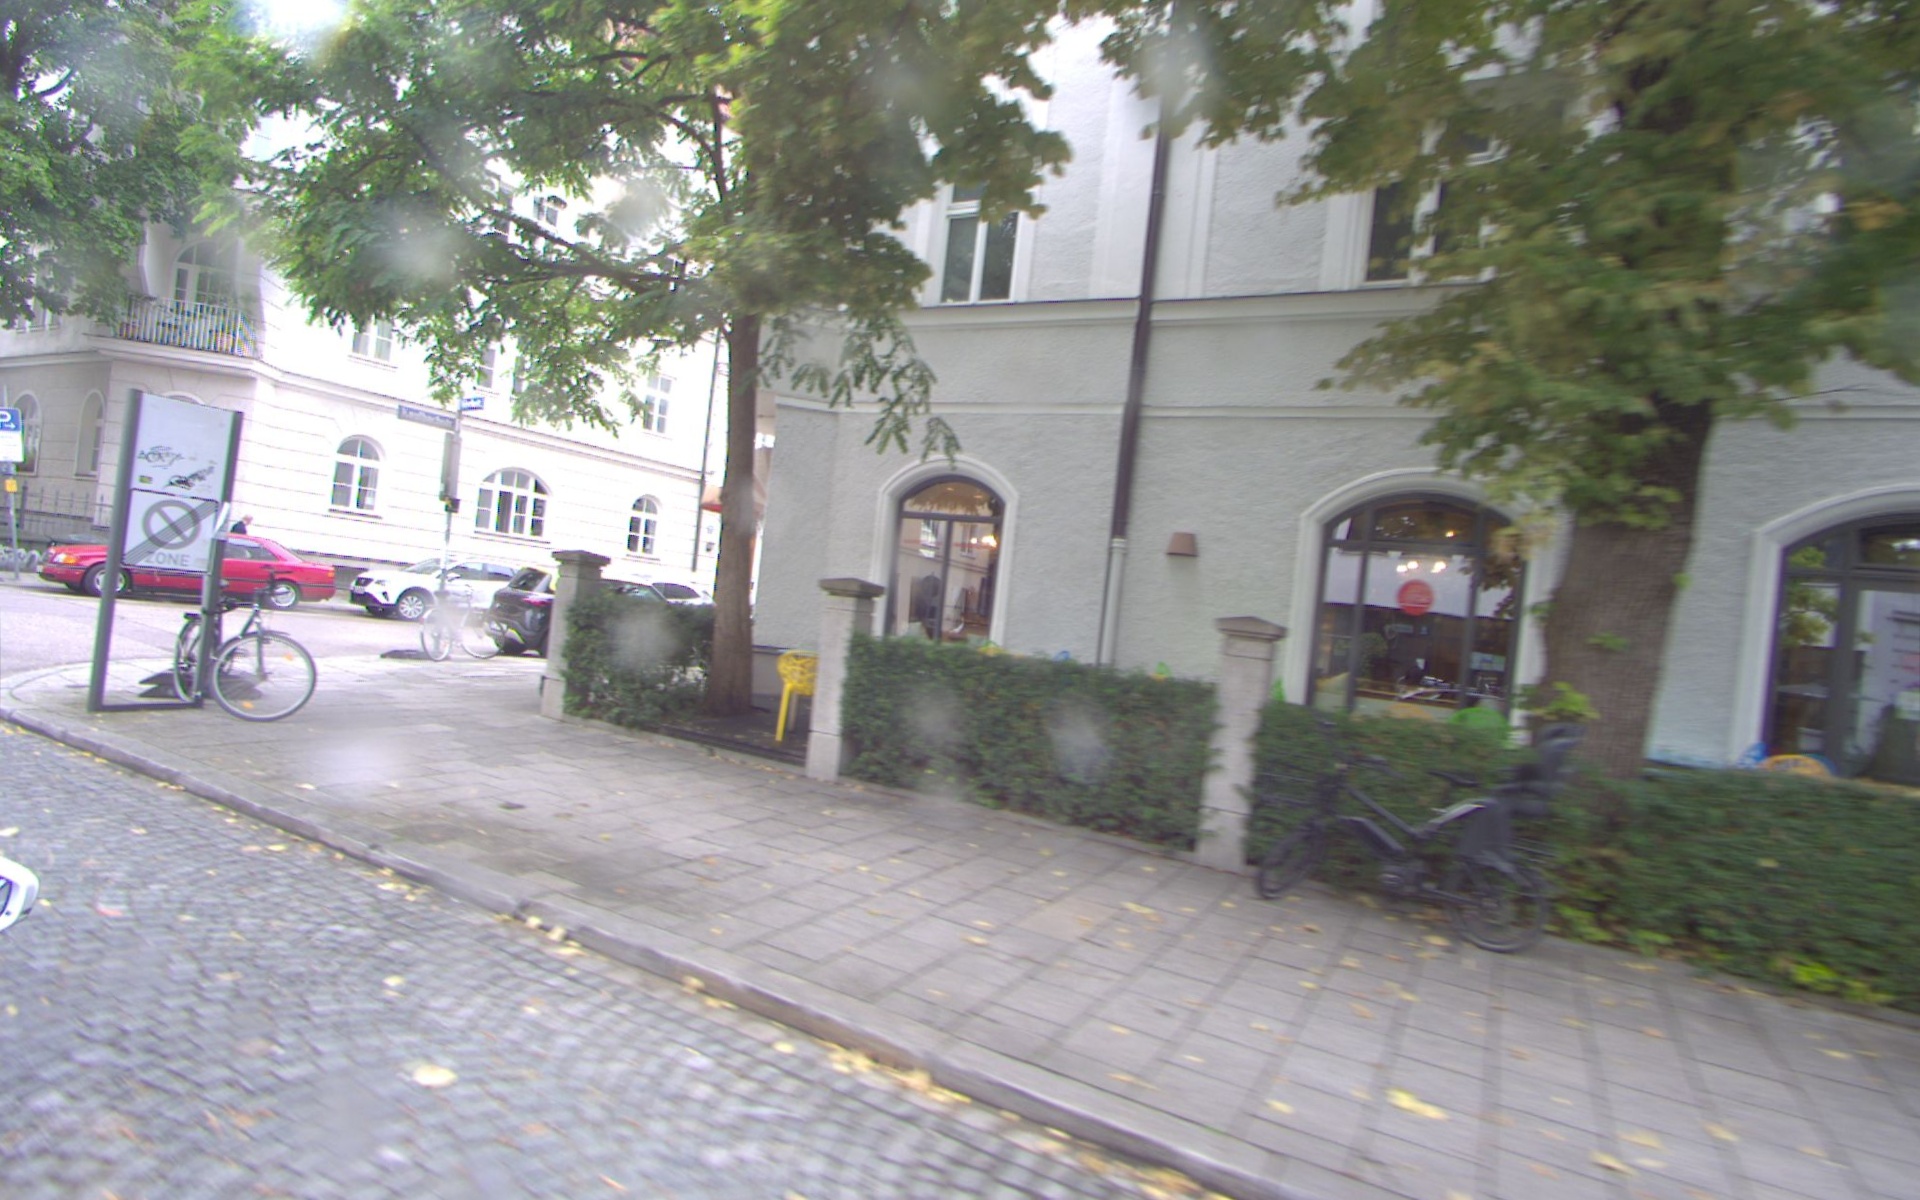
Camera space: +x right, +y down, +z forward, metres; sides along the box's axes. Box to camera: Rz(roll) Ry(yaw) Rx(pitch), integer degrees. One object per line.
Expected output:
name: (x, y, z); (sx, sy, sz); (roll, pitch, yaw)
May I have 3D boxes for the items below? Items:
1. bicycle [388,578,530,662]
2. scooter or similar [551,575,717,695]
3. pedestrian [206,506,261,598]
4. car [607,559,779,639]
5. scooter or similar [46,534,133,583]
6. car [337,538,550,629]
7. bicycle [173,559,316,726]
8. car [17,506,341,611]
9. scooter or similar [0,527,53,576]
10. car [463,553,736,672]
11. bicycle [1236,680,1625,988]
bicycle: (-6.954, 0.295, 14.024); (0.727, 1.082, 1.602); (3, -1, 32)
scooter or similar: (-3.520, 0.399, 10.940); (1.593, 1.187, 0.401); (5, 1, -38)
pedestrian: (-15.770, -1.033, 21.840); (0.729, 1.899, 0.495); (7, 0, 25)
car: (-7.380, 0.009, 28.191); (1.727, 1.732, 4.323); (7, 0, 40)
scooter or similar: (-18.376, -0.873, 21.250); (0.686, 0.835, 1.237); (6, -1, 38)
car: (-11.466, -0.311, 22.572); (1.541, 1.539, 3.889); (7, -1, 34)
bicycle: (-5.802, 0.317, 8.131); (1.565, 1.161, 0.388); (6, 0, 36)
car: (-14.556, -0.719, 19.004); (1.733, 1.374, 4.467); (7, 0, 36)
scooter or similar: (-19.086, -1.000, 20.149); (0.911, 0.858, 1.182); (6, -1, 39)
car: (-6.281, 0.278, 17.897); (1.878, 1.616, 4.071); (6, -1, 40)
bicycle: (2.422, 1.154, 5.336); (1.701, 1.215, 0.427); (6, 5, 30)
